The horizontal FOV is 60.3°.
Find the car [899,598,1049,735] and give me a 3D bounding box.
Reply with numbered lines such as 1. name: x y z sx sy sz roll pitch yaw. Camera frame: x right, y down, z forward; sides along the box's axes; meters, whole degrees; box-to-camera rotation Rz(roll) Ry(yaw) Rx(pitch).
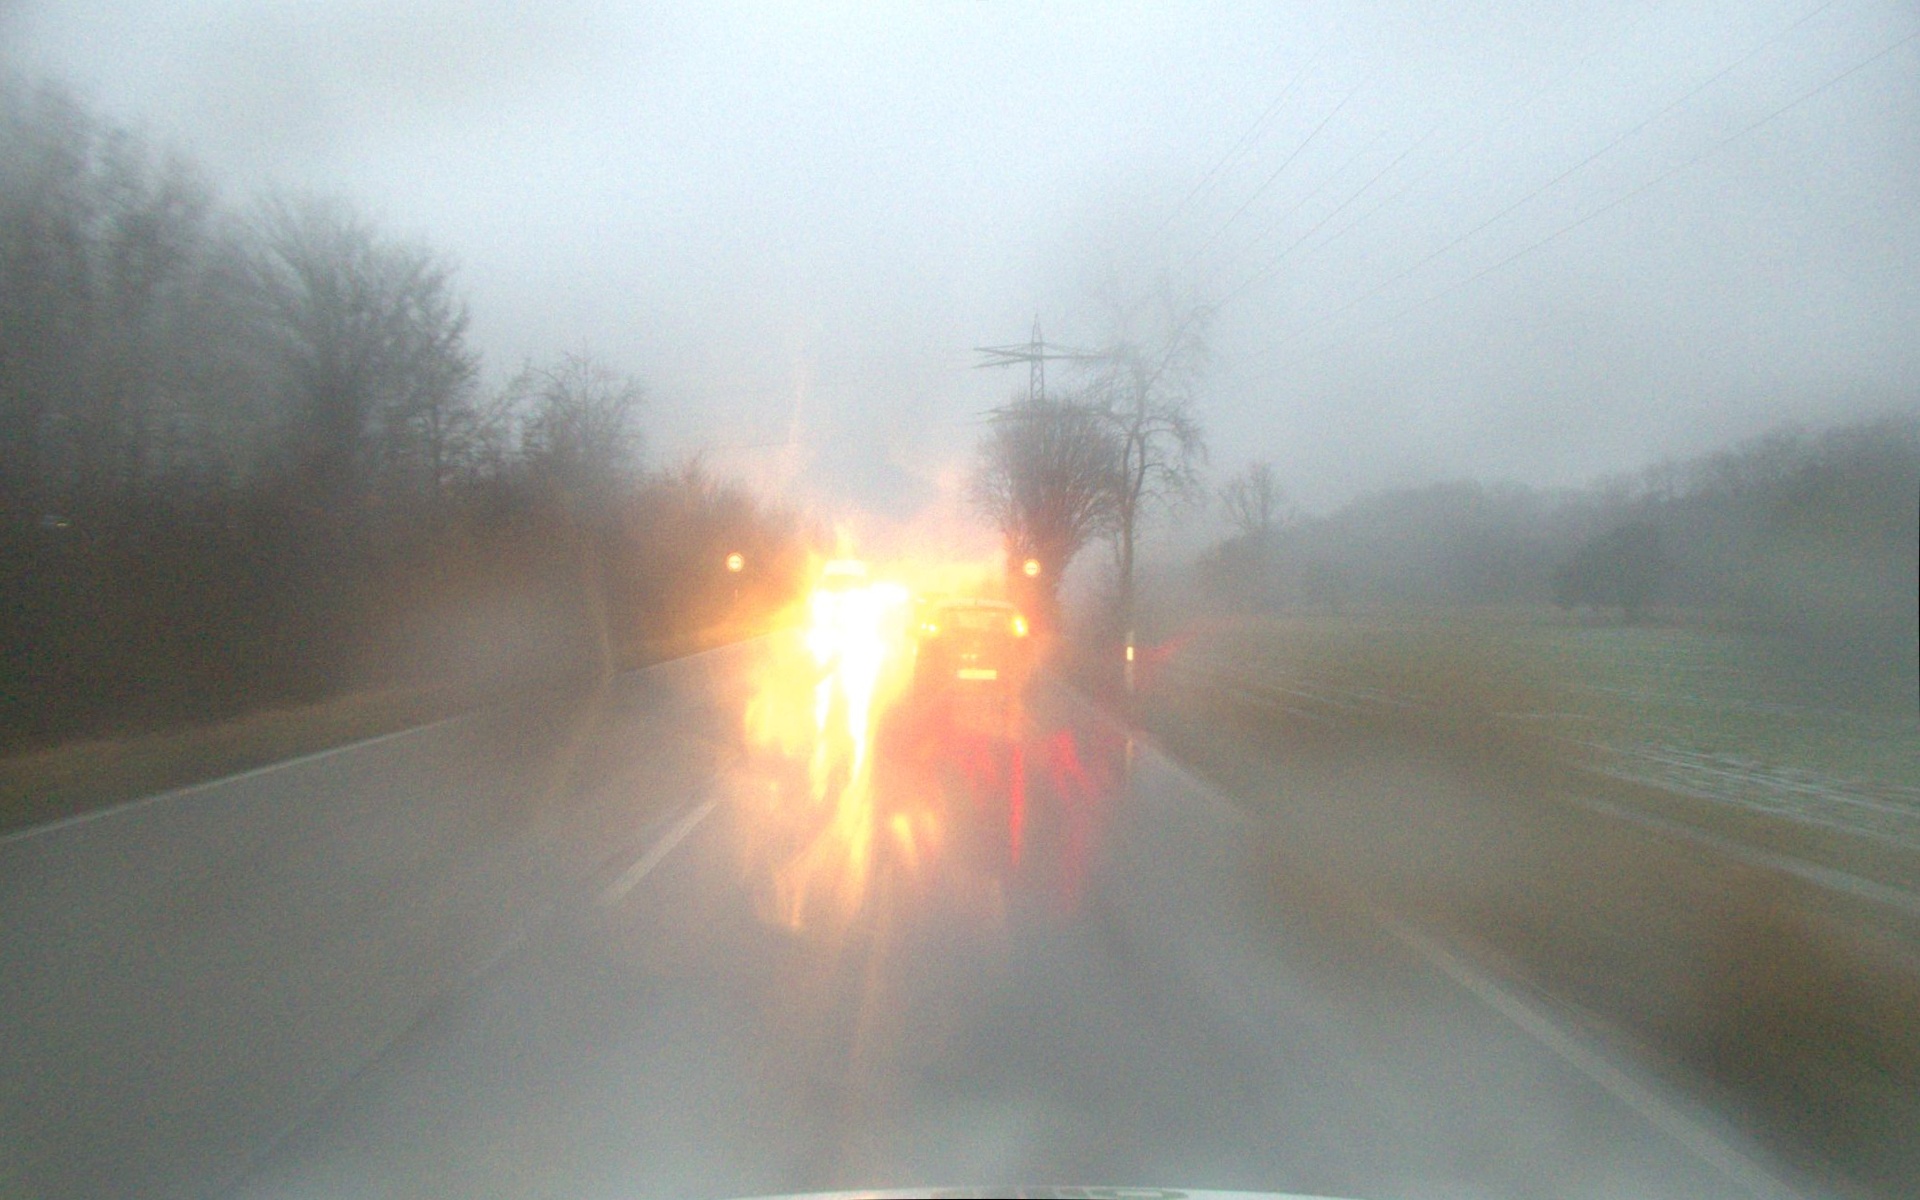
1. car: 0.143 0.865 23.556 1.953 1.783 3.999 0 0 -1

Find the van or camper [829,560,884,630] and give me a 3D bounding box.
1. van or camper: -4.325 -0.219 70.003 1.980 2.825 6.742 0 0 -1

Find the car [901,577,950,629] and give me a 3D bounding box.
1. car: -1.390 0.124 68.353 1.953 2.049 4.000 0 0 0
